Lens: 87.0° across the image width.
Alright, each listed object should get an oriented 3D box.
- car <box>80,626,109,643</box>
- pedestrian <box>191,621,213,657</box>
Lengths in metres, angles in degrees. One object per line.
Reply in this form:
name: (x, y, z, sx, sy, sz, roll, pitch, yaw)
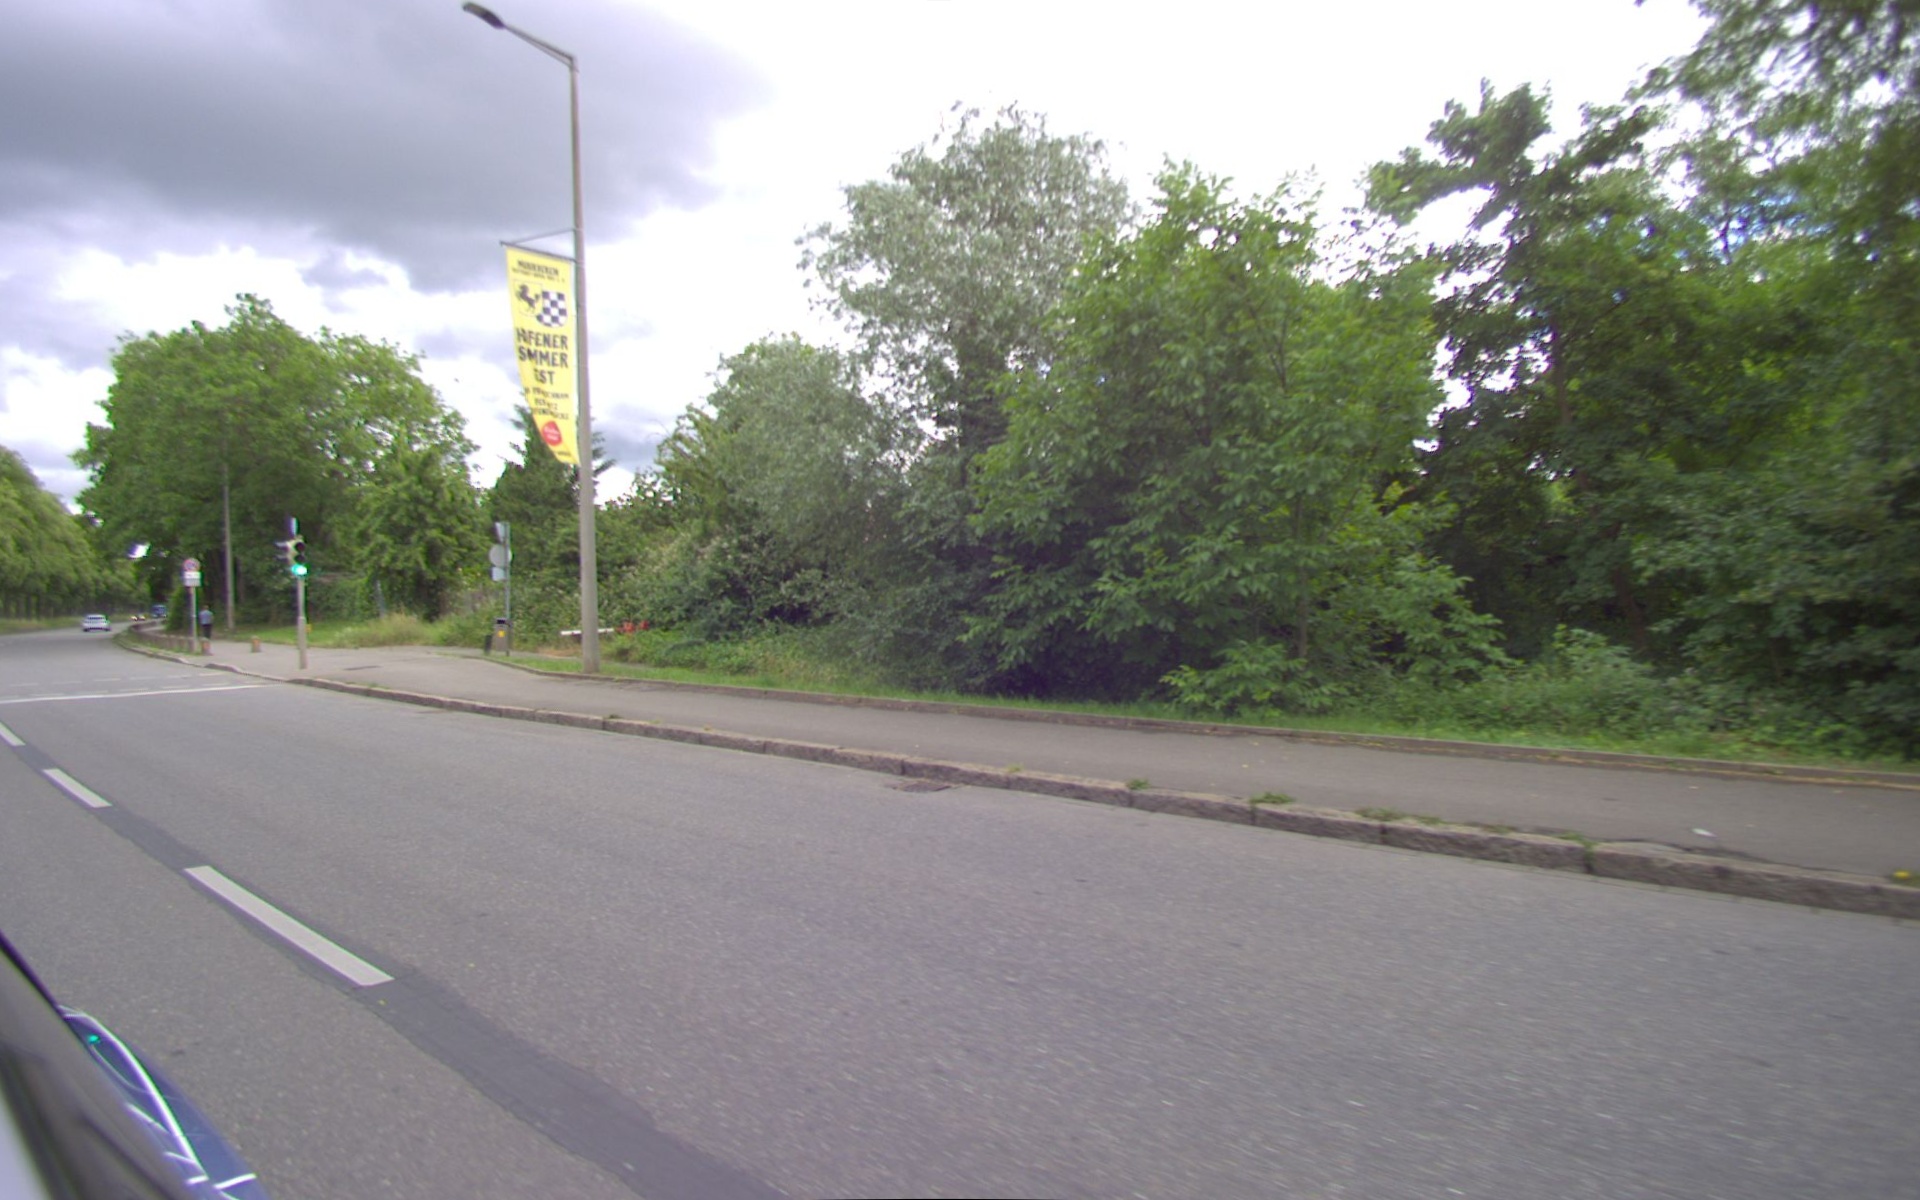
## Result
car: (-77.838, 3.060, 91.030, 1.752, 1.450, 4.365, 0, -1, -43)
pedestrian: (-36.585, 1.879, 48.865, 0.681, 1.646, 0.839, -4, 2, -42)
